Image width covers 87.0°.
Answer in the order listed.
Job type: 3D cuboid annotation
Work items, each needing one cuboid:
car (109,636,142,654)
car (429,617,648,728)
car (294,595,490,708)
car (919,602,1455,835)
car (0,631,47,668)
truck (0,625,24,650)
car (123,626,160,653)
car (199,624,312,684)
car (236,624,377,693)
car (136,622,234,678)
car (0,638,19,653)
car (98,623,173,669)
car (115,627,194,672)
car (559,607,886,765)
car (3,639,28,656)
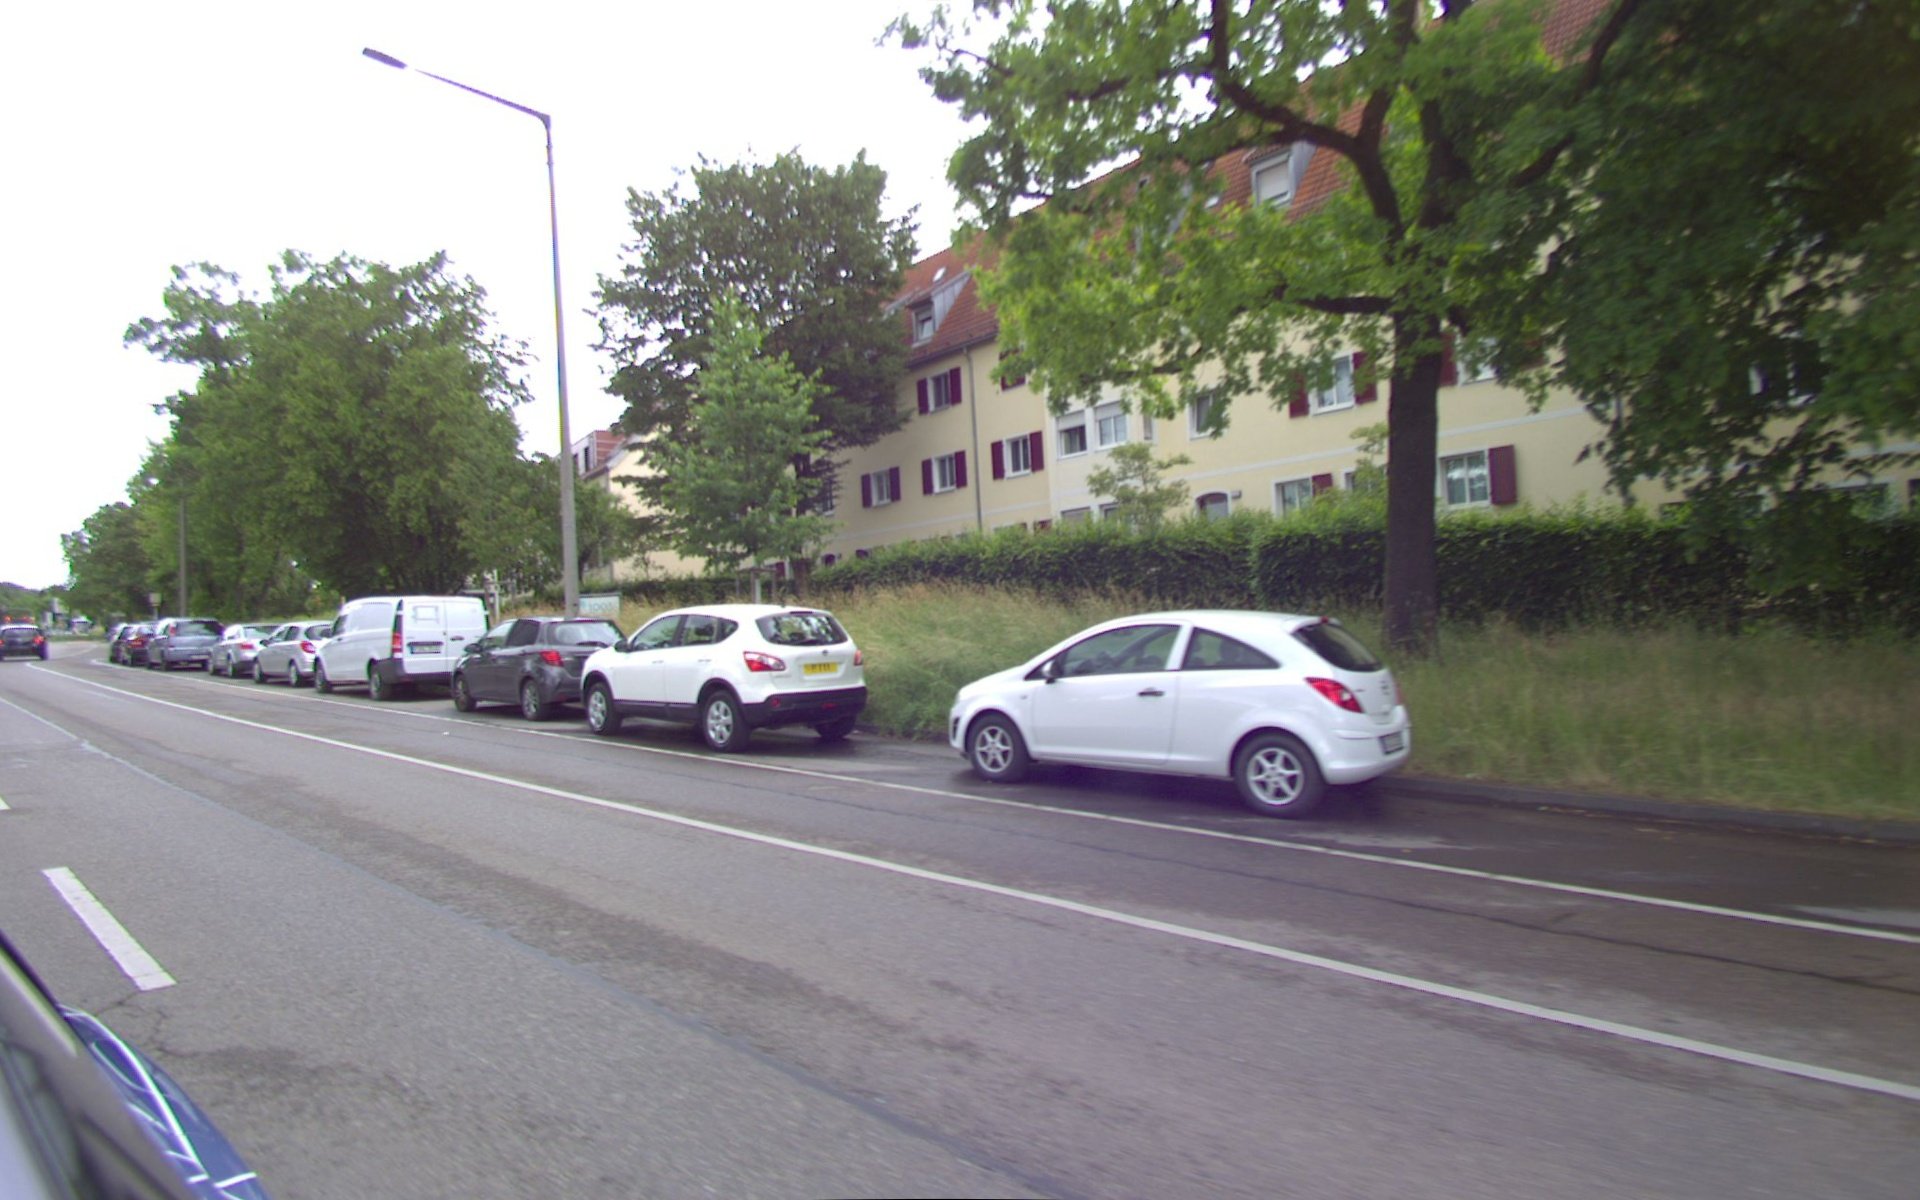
[{"bbox_3d":[-76.500,4.112,92.746,4.057,1.518,1.854,-2,0,44],"label":"car"},{"bbox_3d":[-6.653,1.037,15.769,4.045,1.499,1.654,-2,-2,44],"label":"car"},{"bbox_3d":[-11.341,0.980,20.015,5.153,1.945,1.749,-2,0,41],"label":"car"},{"bbox_3d":[1.720,0.804,8.488,4.087,1.490,1.645,-1,-1,40],"label":"car"},{"bbox_3d":[-39.486,2.032,42.416,1.617,1.478,4.006,1,-2,-40],"label":"car"},{"bbox_3d":[-138.045,5.400,147.036,2.790,3.507,7.833,0,-1,-42],"label":"truck"},{"bbox_3d":[-56.646,2.729,70.084,1.851,1.679,4.399,-2,0,-38],"label":"car"},{"bbox_3d":[-19.326,1.448,27.678,4.358,1.507,1.748,-2,-3,44],"label":"car"},{"bbox_3d":[-15.480,1.352,23.900,3.945,1.444,1.619,-2,0,39],"label":"car"},{"bbox_3d":[-24.425,1.537,31.857,4.134,1.604,1.749,-2,-1,42],"label":"car"},{"bbox_3d":[-116.904,5.563,124.203,4.407,1.783,1.808,-3,-1,44],"label":"car"},{"bbox_3d":[-31.694,1.732,38.860,1.853,1.582,4.654,-1,0,-44],"label":"car"},{"bbox_3d":[-28.221,1.709,35.405,1.747,1.458,4.152,-1,-1,-45],"label":"car"},{"bbox_3d":[-2.992,0.908,12.198,4.279,1.576,1.656,-2,-1,41],"label":"car"},{"bbox_3d":[-99.676,5.027,106.825,1.853,1.582,4.343,-2,0,-44],"label":"car"}]
